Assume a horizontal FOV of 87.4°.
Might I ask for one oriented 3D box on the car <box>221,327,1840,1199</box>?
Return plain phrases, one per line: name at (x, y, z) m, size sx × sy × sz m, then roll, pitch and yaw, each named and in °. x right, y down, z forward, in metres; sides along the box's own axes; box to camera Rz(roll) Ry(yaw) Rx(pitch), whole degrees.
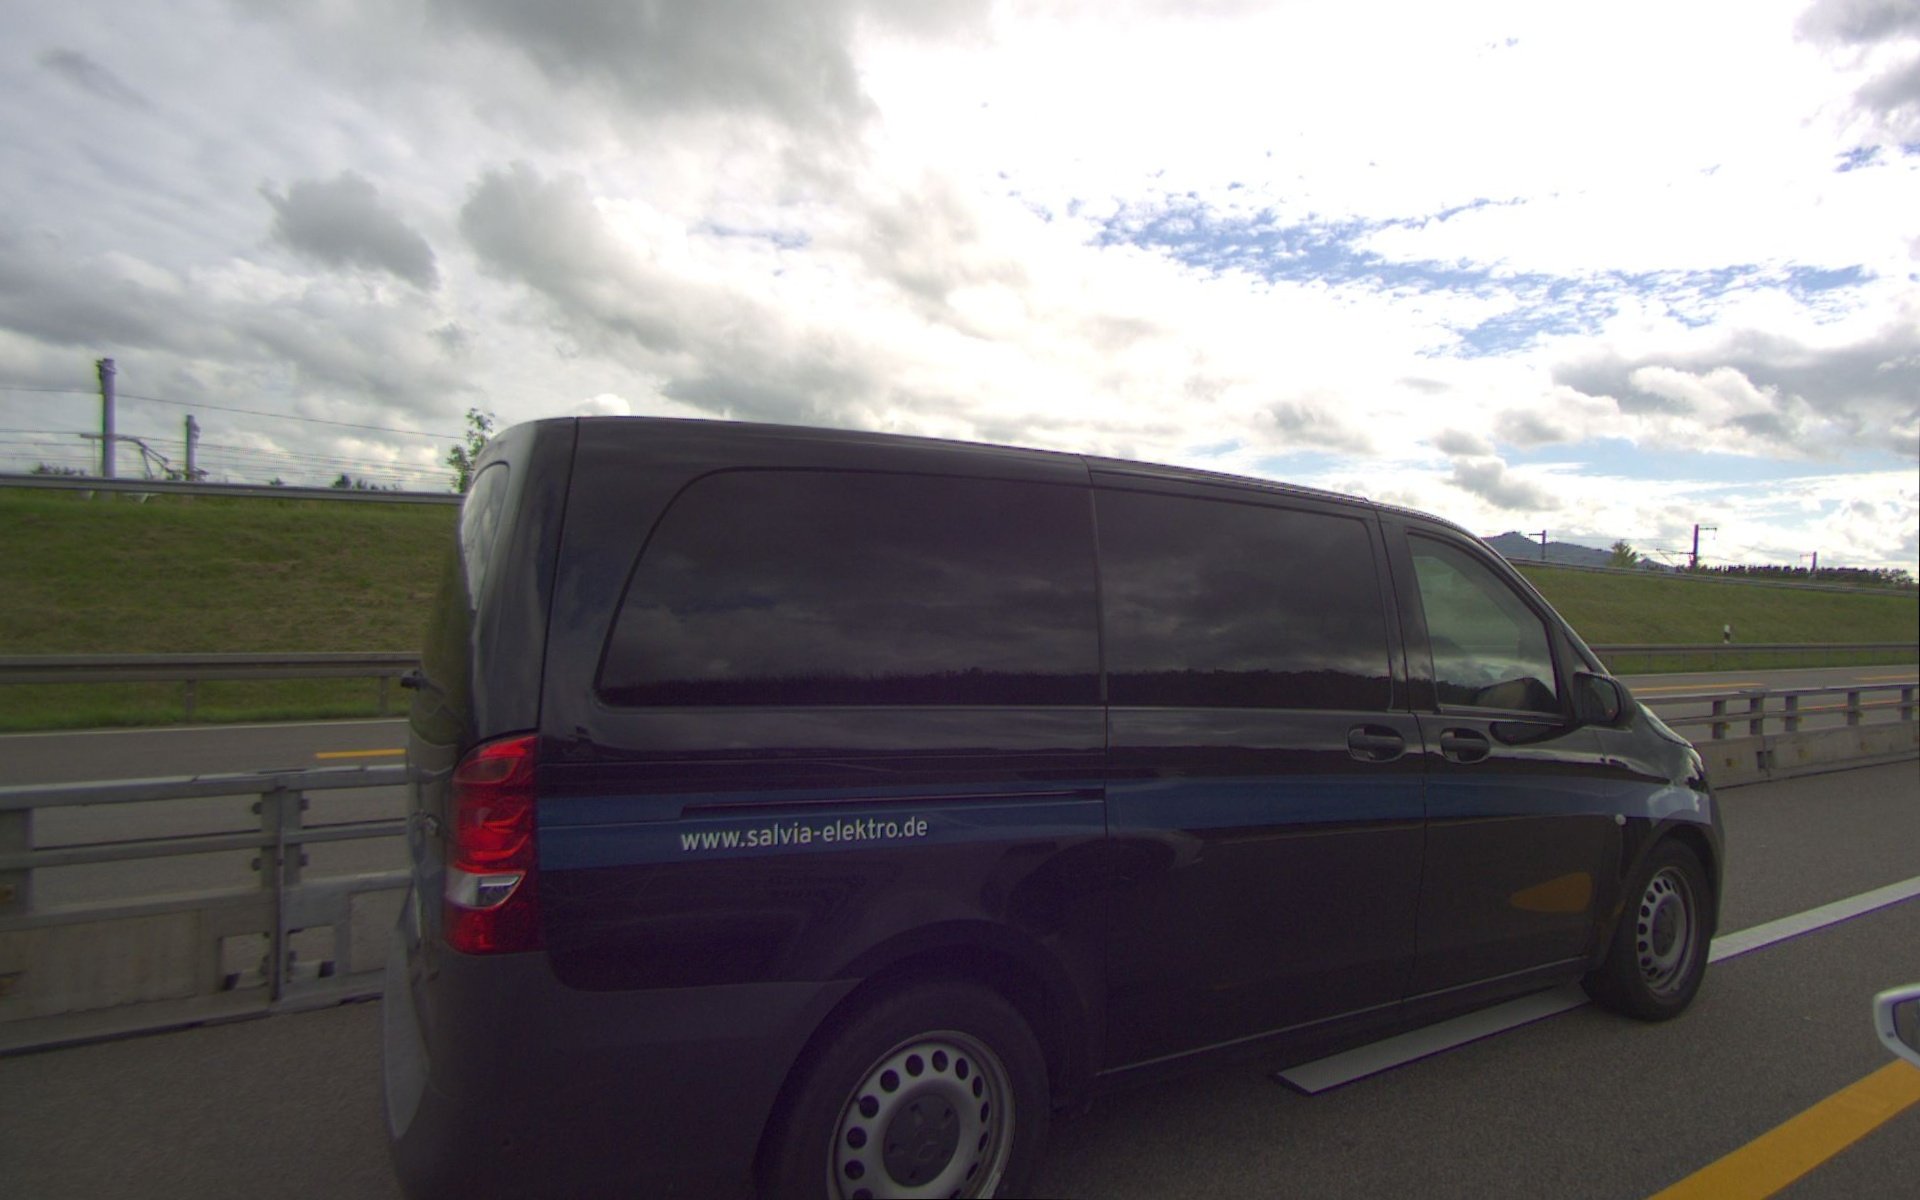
car at (0.848, 0.597, 3.711) m, size 5.543 × 1.867 × 1.984 m, roll 1°, pitch -1°, yaw -30°
